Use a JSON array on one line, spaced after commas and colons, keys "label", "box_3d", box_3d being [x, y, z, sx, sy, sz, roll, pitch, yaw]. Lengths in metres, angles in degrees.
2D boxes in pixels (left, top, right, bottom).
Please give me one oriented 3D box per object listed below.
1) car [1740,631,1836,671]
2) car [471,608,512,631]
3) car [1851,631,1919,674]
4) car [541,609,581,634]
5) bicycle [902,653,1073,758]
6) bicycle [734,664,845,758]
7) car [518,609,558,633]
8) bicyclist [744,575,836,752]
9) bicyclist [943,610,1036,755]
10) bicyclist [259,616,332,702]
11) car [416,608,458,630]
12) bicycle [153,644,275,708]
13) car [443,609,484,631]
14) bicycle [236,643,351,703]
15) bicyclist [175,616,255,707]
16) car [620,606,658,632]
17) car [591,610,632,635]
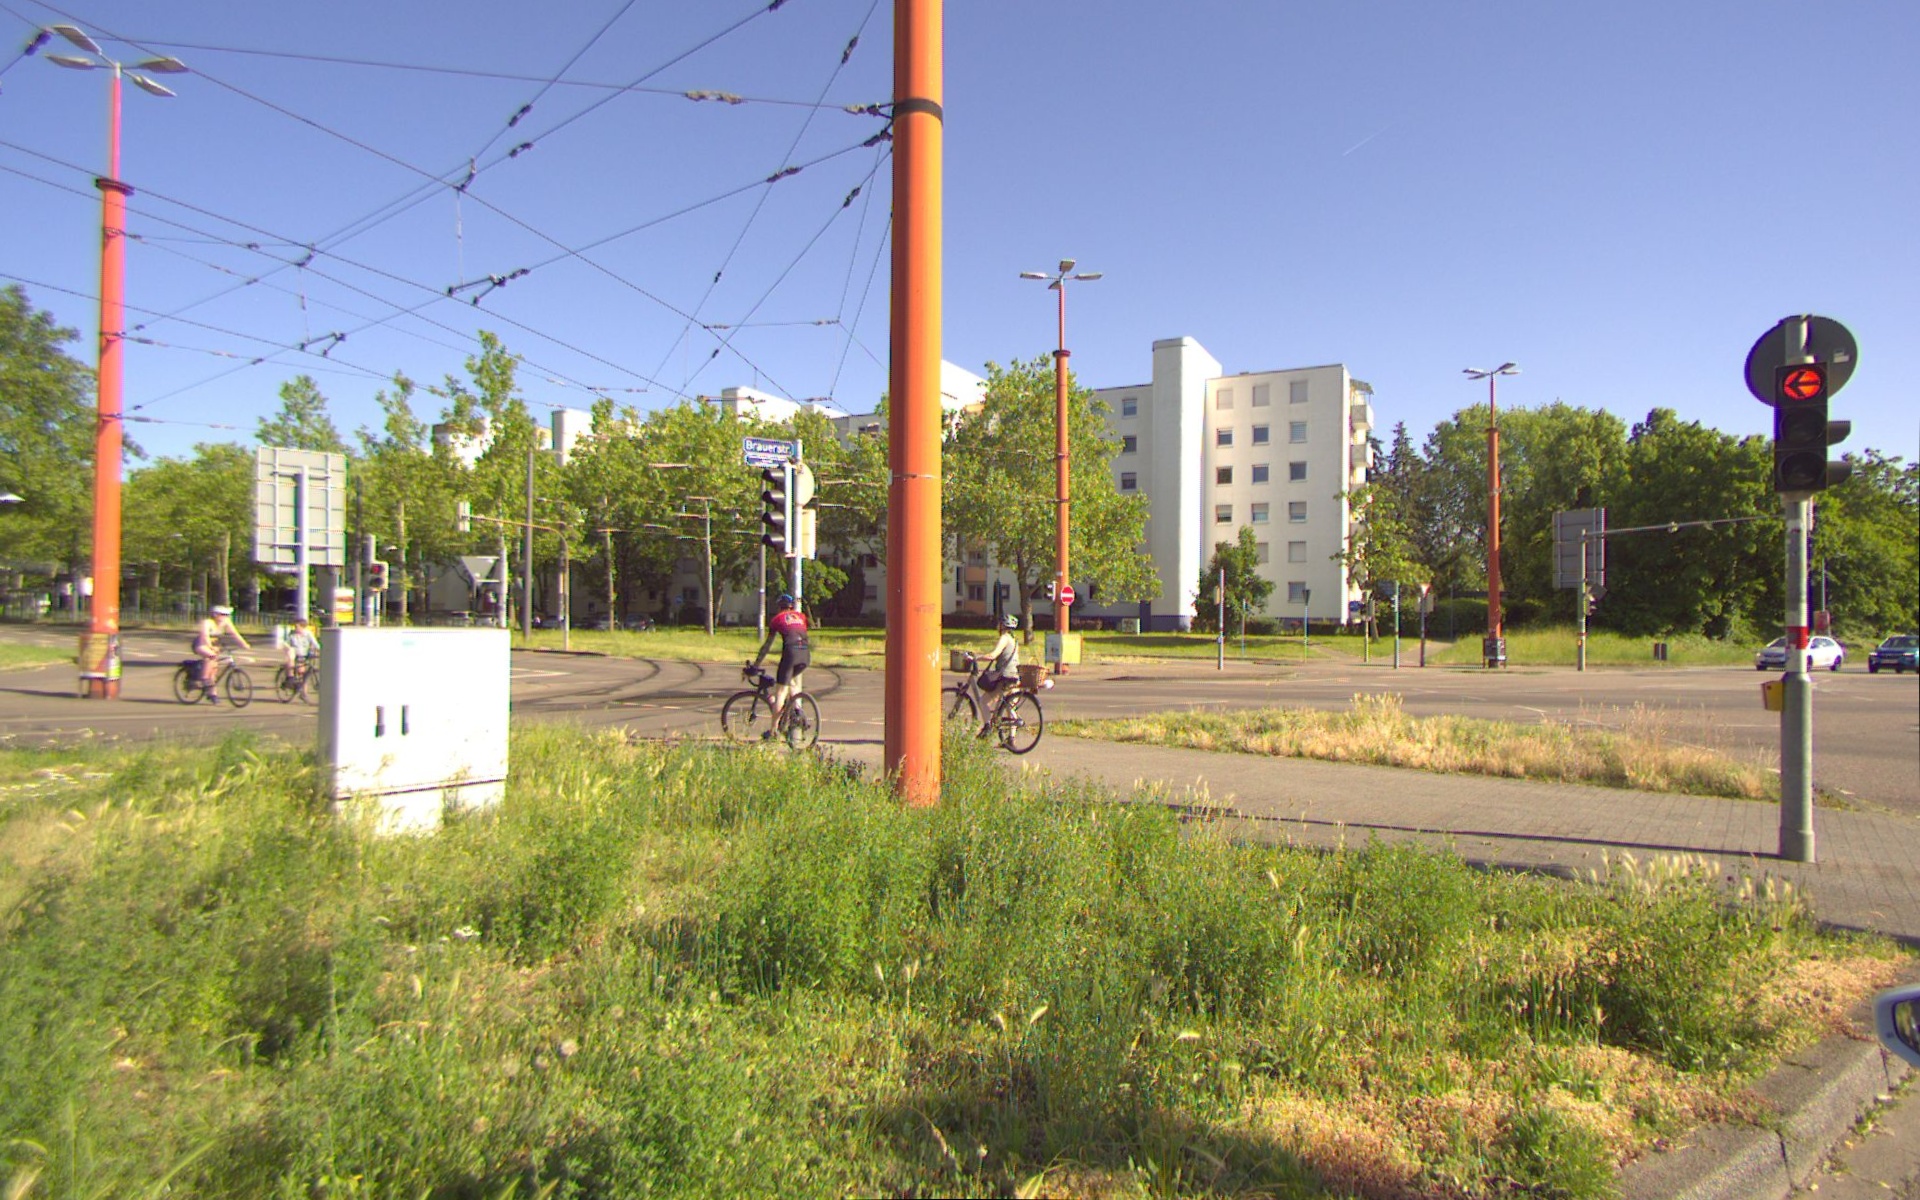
[{"label": "car", "box_3d": [35.148, 2.148, 42.610, 4.075, 1.594, 1.983, 1, -1, -32]}, {"label": "car", "box_3d": [-39.280, 1.634, 84.331, 1.963, 1.840, 3.995, 1, -1, -8]}, {"label": "car", "box_3d": [37.272, 2.036, 39.869, 4.079, 1.594, 1.981, 2, -1, -35]}, {"label": "car", "box_3d": [-31.188, 1.669, 78.684, 1.963, 1.840, 3.995, 1, -1, -8]}, {"label": "bicycle", "box_3d": [0.318, 1.225, 12.126, 1.855, 1.102, 0.925, 0, -1, 34]}, {"label": "bicycle", "box_3d": [-2.112, 1.306, 12.241, 0.915, 0.976, 1.747, 1, -1, -24]}, {"label": "car", "box_3d": [-33.804, 1.664, 80.533, 1.963, 1.840, 3.995, 1, -1, -8]}, {"label": "bicyclist", "box_3d": [-2.062, 0.746, 12.144, 0.921, 2.040, 0.736, 1, -1, -25]}, {"label": "bicyclist", "box_3d": [0.362, 0.955, 12.102, 0.728, 1.659, 0.931, 0, -1, 35]}, {"label": "bicyclist", "box_3d": [-13.208, 1.160, 19.973, 0.726, 1.659, 0.934, 0, -1, 18]}, {"label": "car", "box_3d": [-46.018, 1.669, 88.482, 1.963, 1.840, 3.995, 1, -1, -8]}, {"label": "bicycle", "box_3d": [-14.025, 1.410, 18.901, 1.849, 1.102, 0.928, 0, -1, 18]}, {"label": "car", "box_3d": [-42.669, 1.692, 86.453, 1.963, 1.840, 3.995, 1, -1, -8]}, {"label": "bicycle", "box_3d": [-13.248, 1.440, 19.985, 1.849, 1.102, 0.928, 0, -1, 18]}, {"label": "bicyclist", "box_3d": [-13.998, 1.131, 18.902, 0.726, 1.659, 0.934, 0, -1, 18]}, {"label": "car", "box_3d": [-23.399, 1.393, 73.422, 1.963, 1.840, 3.995, 1, -1, -8]}, {"label": "car", "box_3d": [-26.105, 1.680, 75.334, 1.962, 1.840, 3.997, 1, -1, -5]}]
